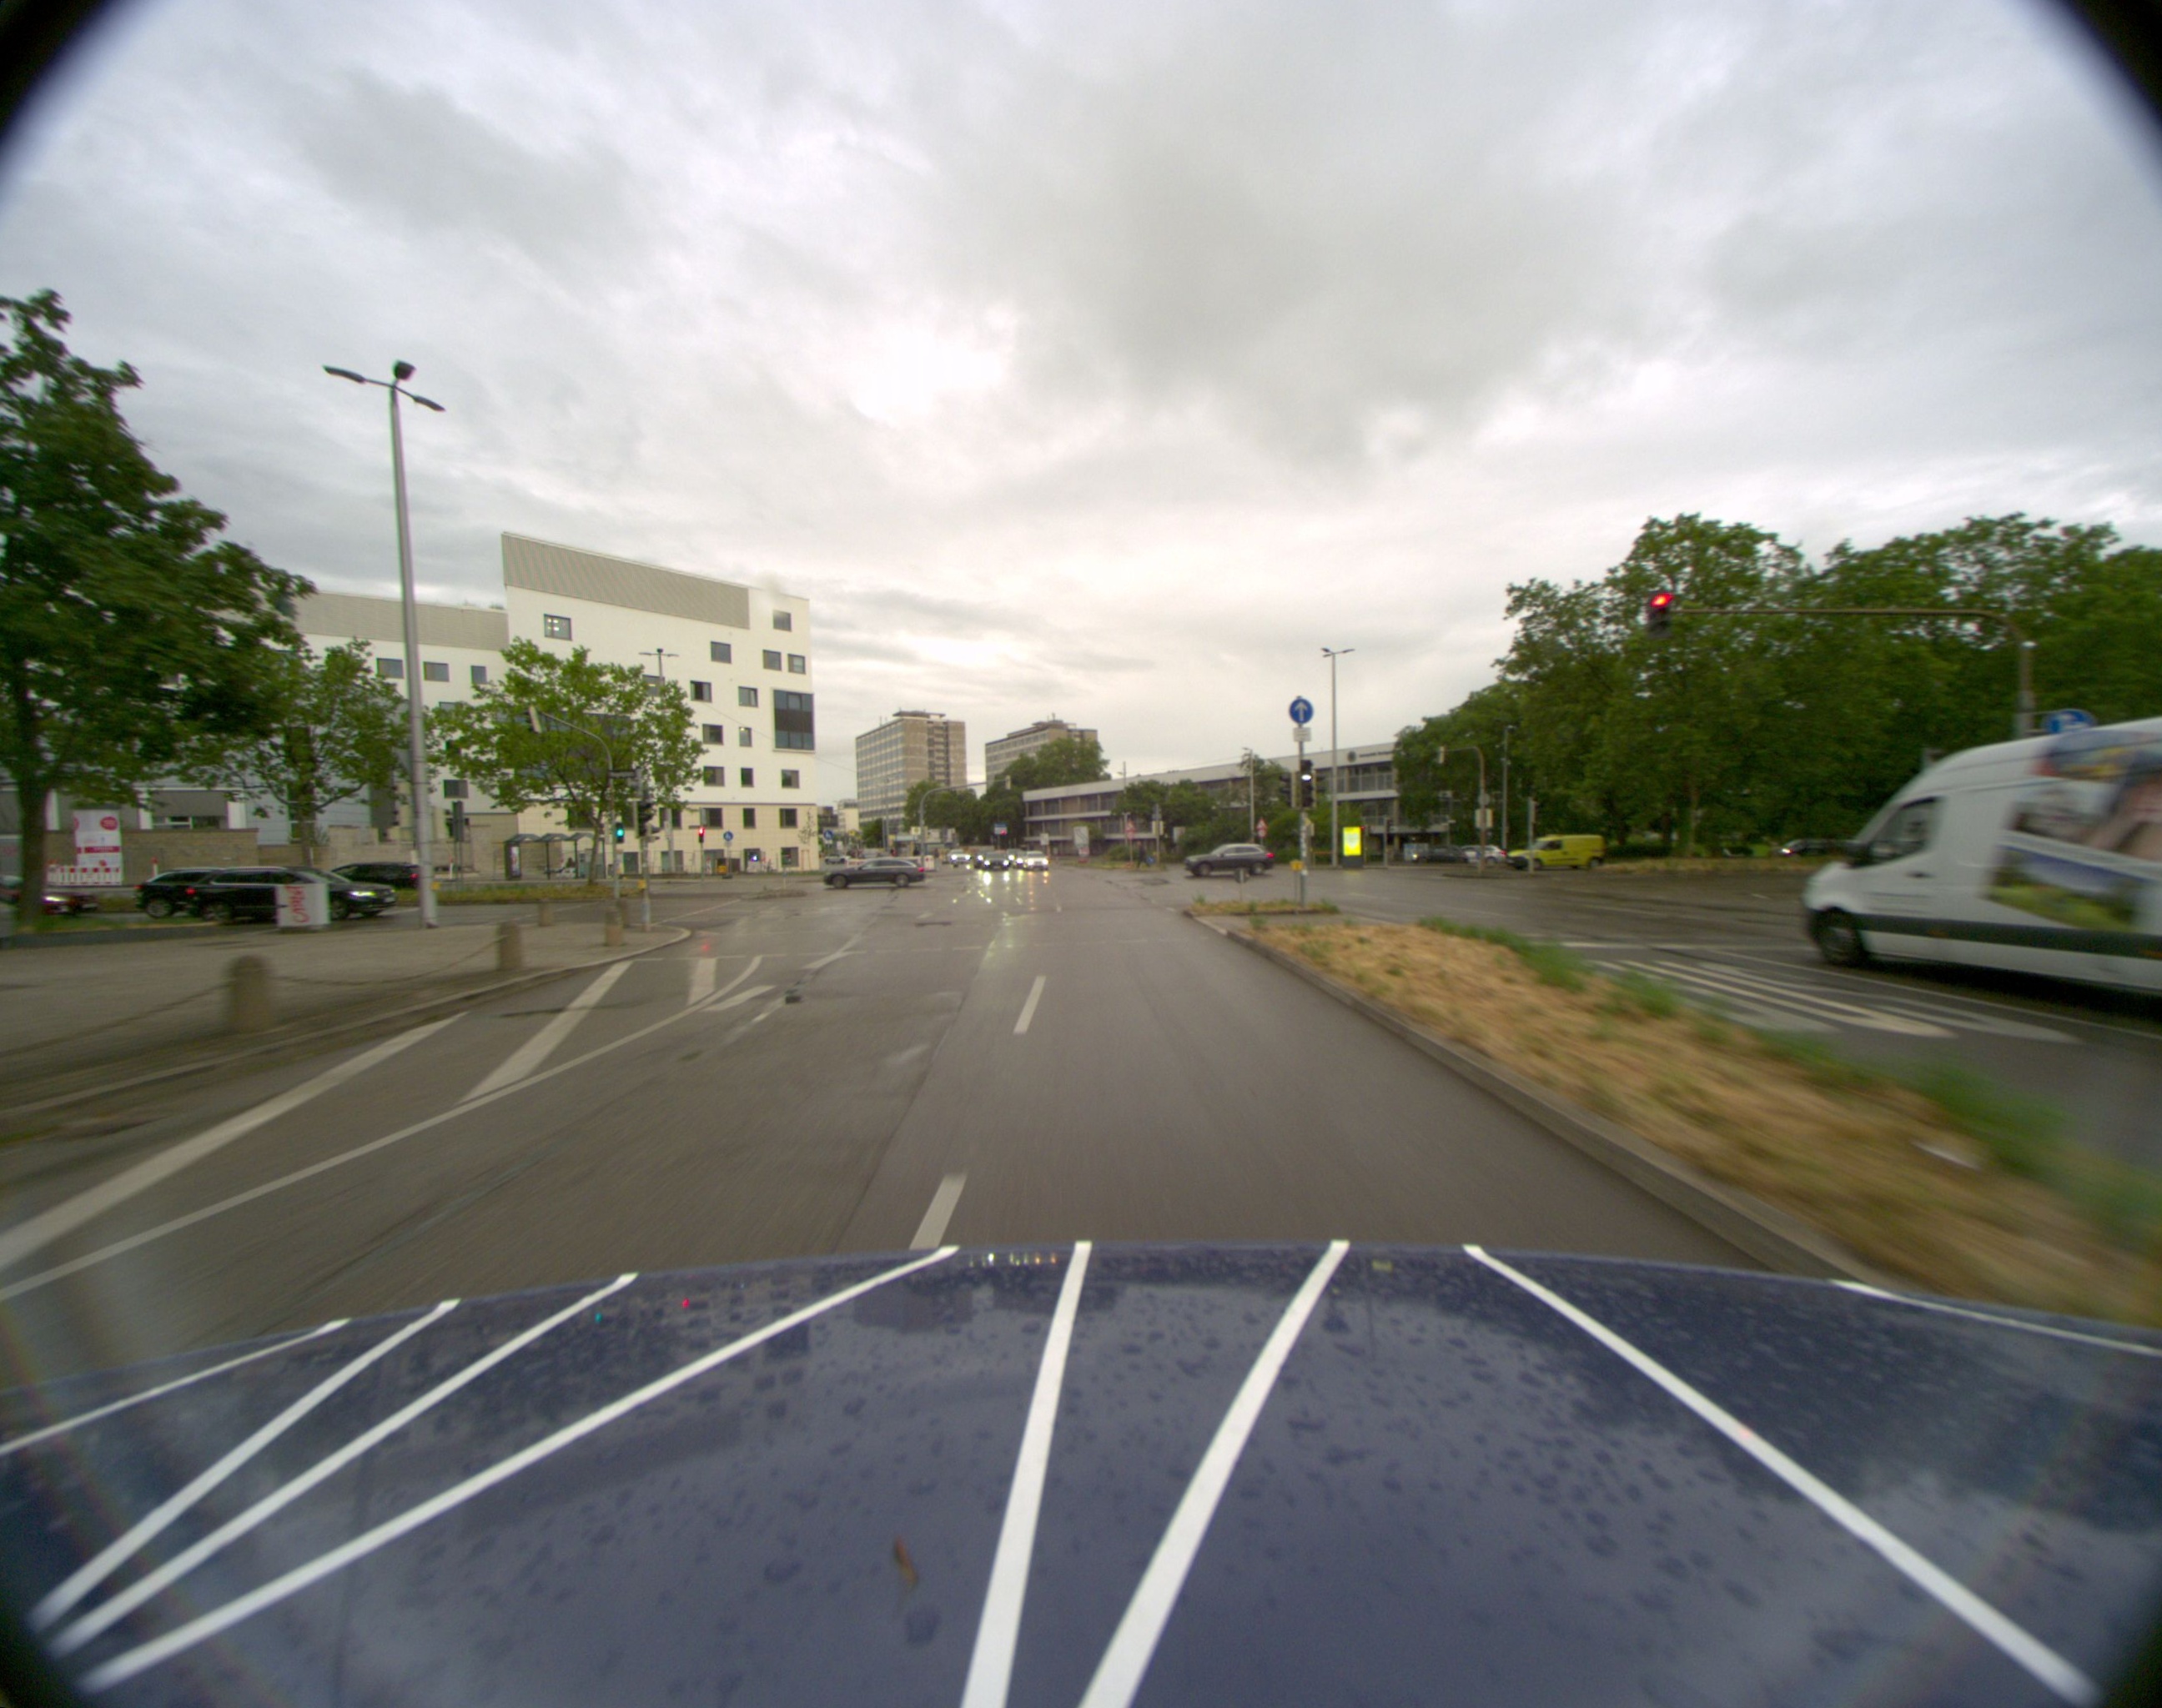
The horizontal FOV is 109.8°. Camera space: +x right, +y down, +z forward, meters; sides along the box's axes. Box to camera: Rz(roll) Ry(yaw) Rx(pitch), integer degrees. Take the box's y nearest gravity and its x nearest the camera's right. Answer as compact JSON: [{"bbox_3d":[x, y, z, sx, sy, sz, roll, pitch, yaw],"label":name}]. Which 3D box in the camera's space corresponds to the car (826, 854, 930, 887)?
[{"bbox_3d":[-10.066,0.798,38.044,4.840,1.524,2.094,0,0,-10],"label":"car"}]

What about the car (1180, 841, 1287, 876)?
[{"bbox_3d":[8.168,0.238,40.902,5.290,1.790,2.048,0,0,-4],"label":"car"}]

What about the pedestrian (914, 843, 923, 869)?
[{"bbox_3d":[-12.742,0.169,59.742,0.643,2.002,0.594,-1,1,-11],"label":"pedestrian"}]

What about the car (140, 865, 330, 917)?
[{"bbox_3d":[-27.320,1.171,24.698,3.743,1.573,1.757,0,0,-17],"label":"car"}]

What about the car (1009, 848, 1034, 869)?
[{"bbox_3d":[-5.663,0.425,72.097,2.077,1.900,4.559,0,0,-8],"label":"car"}]

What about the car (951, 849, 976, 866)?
[{"bbox_3d":[-13.501,0.424,87.127,2.079,1.900,4.555,0,0,-18],"label":"car"}]

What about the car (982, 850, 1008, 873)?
[{"bbox_3d":[-7.492,0.595,65.730,2.077,1.900,4.559,0,0,-8],"label":"car"}]

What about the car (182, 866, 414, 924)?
[{"bbox_3d":[-23.487,1.178,23.030,4.494,1.589,1.983,0,0,-17],"label":"car"}]

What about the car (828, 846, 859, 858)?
[{"bbox_3d":[-35.716,-0.310,114.143,3.994,1.694,1.842,-1,0,8],"label":"car"}]

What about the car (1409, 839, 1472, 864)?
[{"bbox_3d":[24.848,-0.146,52.515,3.831,1.664,1.932,0,0,29],"label":"car"}]

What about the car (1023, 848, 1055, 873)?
[{"bbox_3d":[-3.308,0.479,58.974,2.077,1.900,4.559,0,0,-8],"label":"car"}]

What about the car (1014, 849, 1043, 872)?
[{"bbox_3d":[-4.542,0.529,65.049,2.077,1.816,4.559,0,0,-8],"label":"car"}]

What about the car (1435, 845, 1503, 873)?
[{"bbox_3d":[28.004,0.351,54.843,4.335,1.900,2.081,0,0,29],"label":"car"}]

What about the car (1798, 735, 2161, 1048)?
[{"bbox_3d":[9.879,0.292,7.032,1.986,2.514,5.636,0,0,11],"label":"car"}]

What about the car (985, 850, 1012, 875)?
[{"bbox_3d":[-6.462,0.643,59.114,1.884,1.858,4.344,0,0,-8],"label":"car"}]

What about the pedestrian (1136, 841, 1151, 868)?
[{"bbox_3d":[4.184,0.015,50.592,0.902,1.786,0.542,-2,1,7],"label":"pedestrian"}]

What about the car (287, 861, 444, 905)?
[{"bbox_3d":[-30.312,1.163,32.393,4.467,1.703,2.072,0,0,-29],"label":"car"}]

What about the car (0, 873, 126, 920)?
[{"bbox_3d":[-32.992,1.274,23.117,4.616,1.358,1.777,0,0,-21],"label":"car"}]

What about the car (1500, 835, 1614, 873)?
[{"bbox_3d":[25.802,-0.004,41.330,4.819,1.996,2.123,0,0,2],"label":"car"}]
